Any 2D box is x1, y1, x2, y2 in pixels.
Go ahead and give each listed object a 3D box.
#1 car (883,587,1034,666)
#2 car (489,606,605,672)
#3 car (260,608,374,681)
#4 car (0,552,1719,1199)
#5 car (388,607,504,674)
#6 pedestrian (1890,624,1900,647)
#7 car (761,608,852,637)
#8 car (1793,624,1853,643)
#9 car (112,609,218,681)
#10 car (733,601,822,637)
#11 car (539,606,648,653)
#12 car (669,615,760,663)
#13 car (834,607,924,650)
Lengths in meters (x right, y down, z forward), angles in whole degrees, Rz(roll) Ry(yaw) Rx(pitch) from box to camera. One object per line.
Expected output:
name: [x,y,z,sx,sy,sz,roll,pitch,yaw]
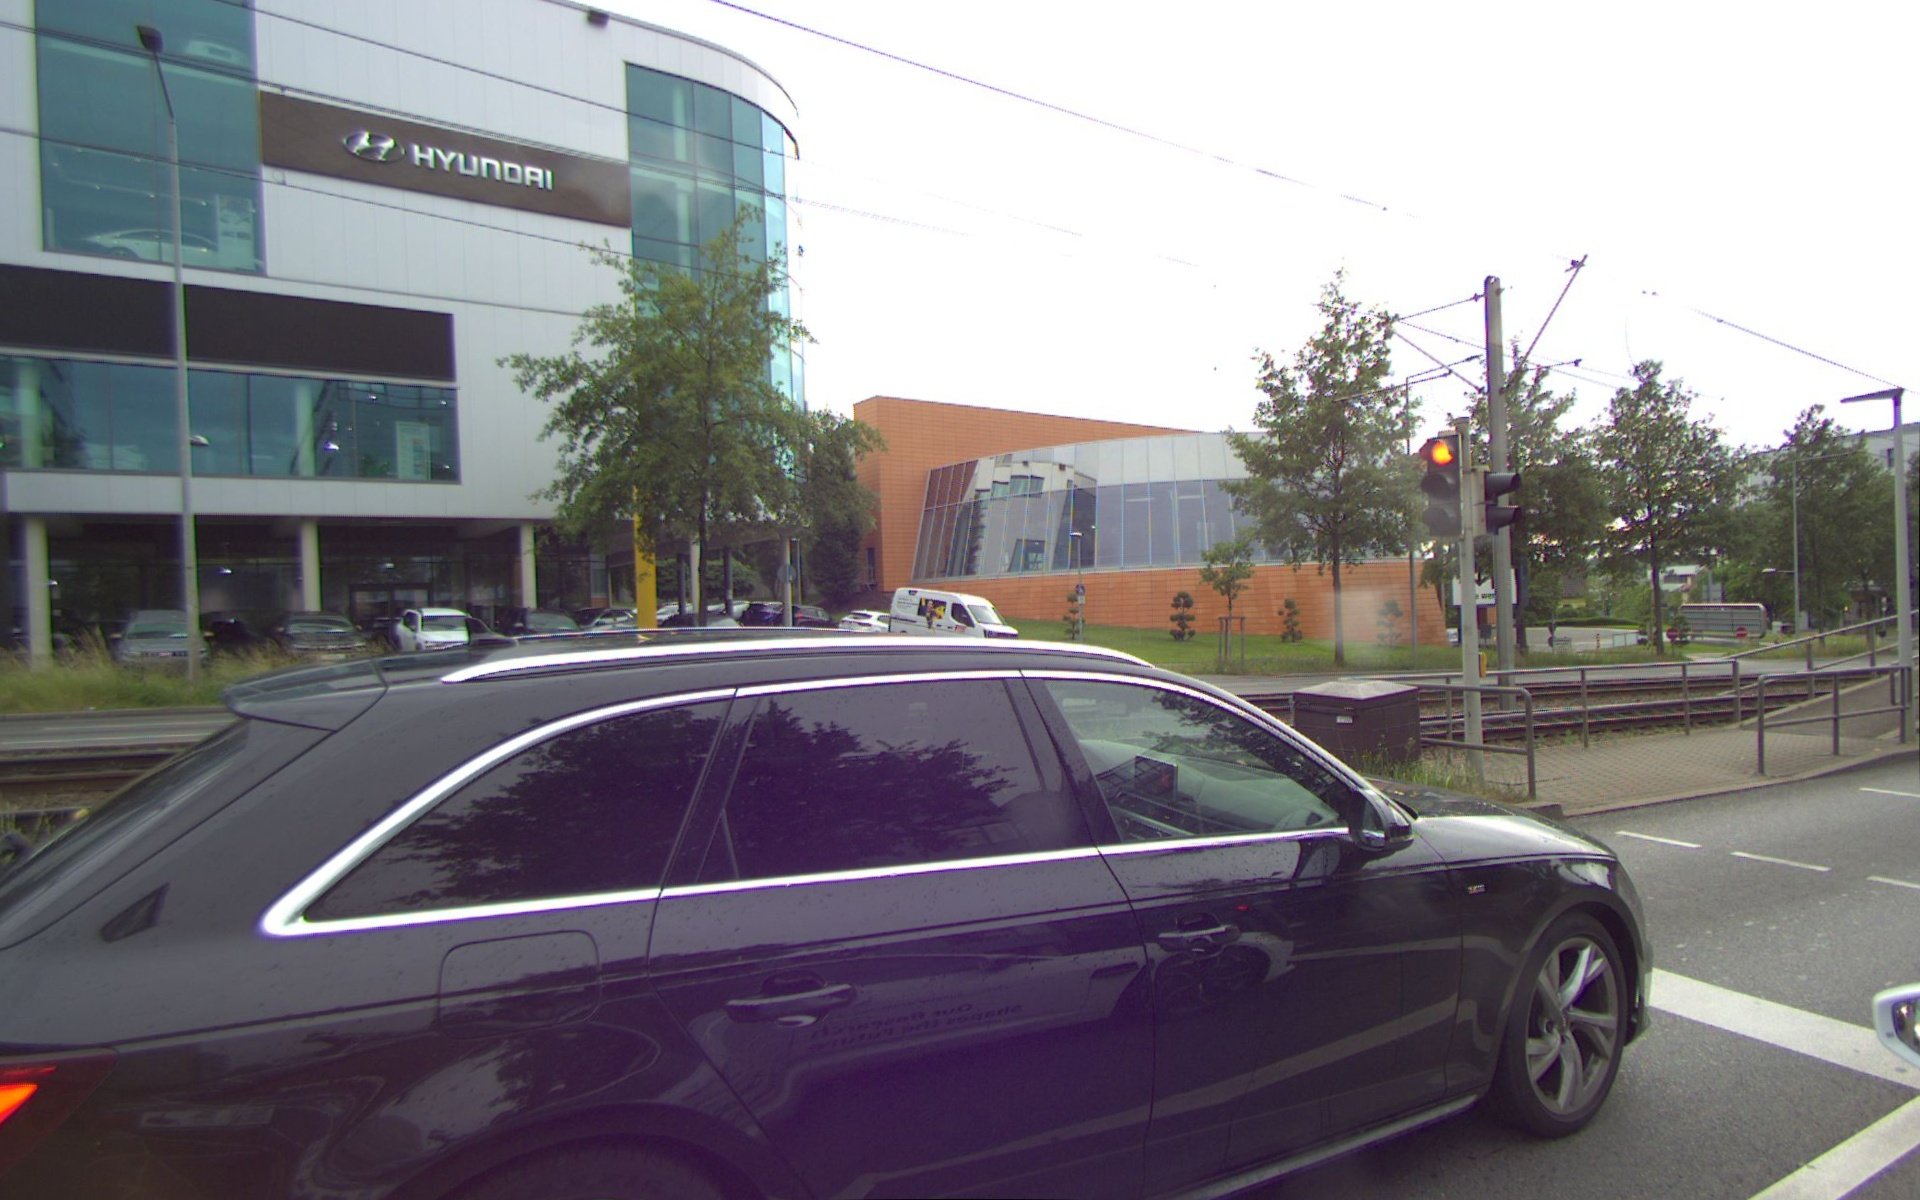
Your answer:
car: [-0.124,0.916,38.114,5.544,2.616,2.392,3,1,43]
car: [-12.352,1.099,29.898,1.984,1.637,4.324,1,1,-40]
car: [-16.962,1.105,26.396,1.984,1.571,4.324,1,1,-40]
car: [0.083,0.722,2.859,4.461,1.486,1.772,1,-1,-31]
car: [-14.504,1.074,28.252,1.984,1.571,4.324,1,1,-40]
pedestrian: [79.245,2.993,85.112,0.484,1.946,0.473,1,0,-30]
car: [-7.221,1.064,47.519,1.969,1.297,3.982,0,-1,39]
car: [66.876,2.571,77.865,1.408,1.405,3.371,0,0,-13]
car: [-19.872,1.059,25.071,1.917,1.479,3.974,1,1,-40]
car: [-8.871,0.910,49.084,1.969,1.653,3.982,0,-1,39]
car: [-12.837,1.012,35.345,1.691,1.572,3.587,0,-1,20]
car: [-7.809,1.180,31.734,1.565,1.409,3.619,0,-1,-36]
car: [-3.343,1.163,42.164,1.703,1.688,3.734,1,-1,38]
